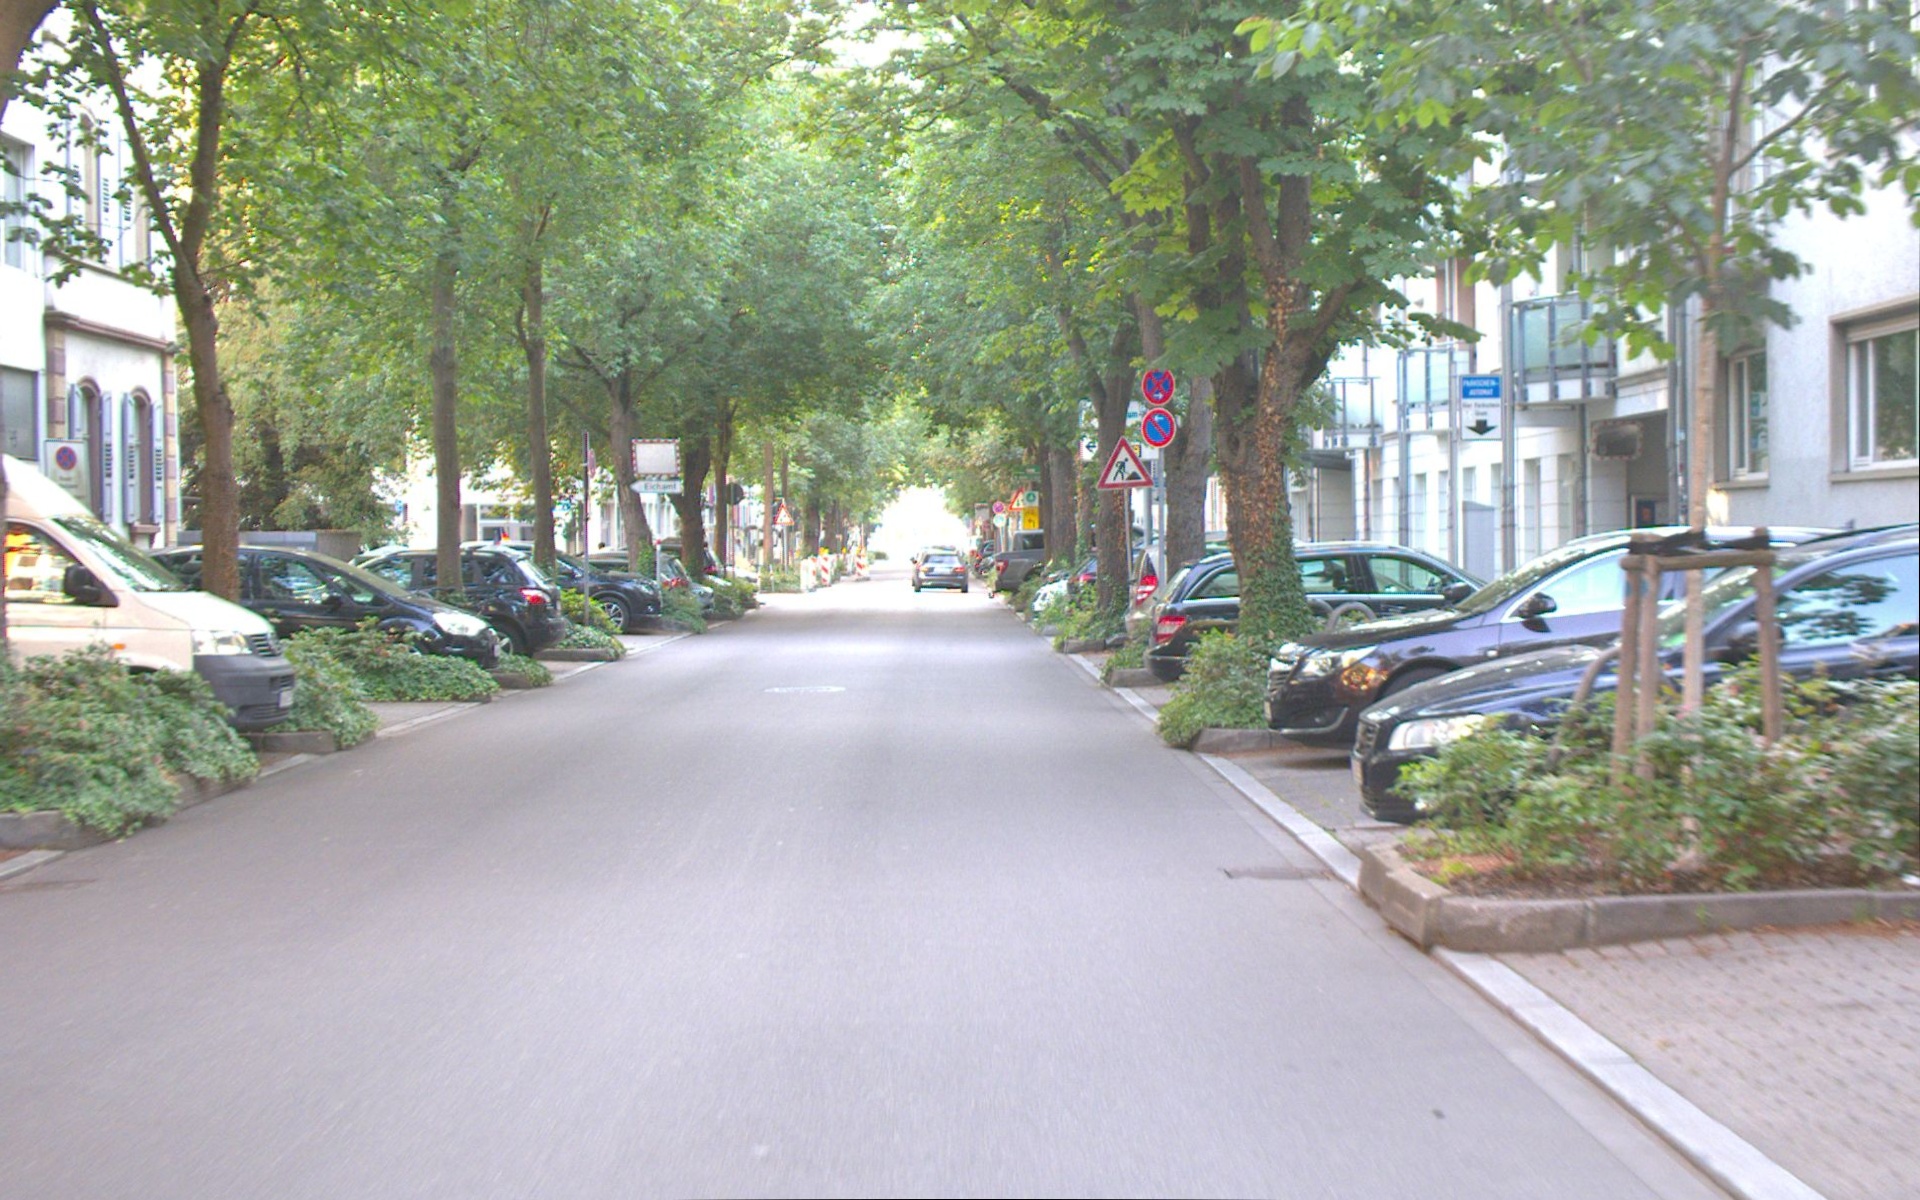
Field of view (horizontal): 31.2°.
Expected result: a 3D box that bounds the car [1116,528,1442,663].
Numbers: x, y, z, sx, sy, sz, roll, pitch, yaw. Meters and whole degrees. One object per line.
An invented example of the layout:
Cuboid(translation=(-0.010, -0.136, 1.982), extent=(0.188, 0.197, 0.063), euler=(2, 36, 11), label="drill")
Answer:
Cuboid(translation=(4.134, -0.074, 45.081), extent=(4.050, 1.592, 1.825), euler=(-2, 1, 0), label="car")

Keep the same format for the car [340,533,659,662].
Cuboid(translation=(-7.043, -0.048, 52.942), extent=(4.595, 1.801, 1.963), euler=(-2, 1, 0), label="car")

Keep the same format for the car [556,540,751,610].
Cuboid(translation=(-7.799, -0.650, 87.802), extent=(4.762, 1.624, 1.963), euler=(-2, 1, 0), label="car")

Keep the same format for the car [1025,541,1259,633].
Cuboid(translation=(3.420, -0.256, 65.102), extent=(4.268, 1.560, 1.963), euler=(-2, 1, 0), label="car")

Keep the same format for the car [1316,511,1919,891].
Cuboid(translation=(4.155, 0.434, 16.541), extent=(4.718, 1.704, 1.950), euler=(0, 2, 2), label="car")

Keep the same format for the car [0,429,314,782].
Cuboid(translation=(-7.238, 0.026, 25.059), extent=(4.682, 2.469, 2.000), euler=(0, 1, 0), label="car")

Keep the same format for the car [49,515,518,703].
Cuboid(translation=(-7.316, 0.082, 37.524), extent=(4.682, 1.848, 1.963), euler=(-2, 1, 0), label="car")

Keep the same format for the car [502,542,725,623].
Cuboid(translation=(-7.737, -0.398, 77.171), extent=(4.762, 1.624, 1.963), euler=(-2, 1, 0), label="car")

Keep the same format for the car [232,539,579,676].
Cuboid(translation=(-7.251, 0.082, 45.249), extent=(4.203, 1.630, 1.963), euler=(-2, 1, 0), label="car")

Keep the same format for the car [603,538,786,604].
Cuboid(translation=(-7.147, -0.792, 92.844), extent=(4.762, 1.624, 1.963), euler=(-2, 1, 0), label="car")

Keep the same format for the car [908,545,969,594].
Cuboid(translation=(-0.713, -1.029, 115.125), extent=(1.956, 1.560, 4.282), euler=(-2, 1, 0), label="car")

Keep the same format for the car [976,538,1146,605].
Cuboid(translation=(2.568, -0.734, 88.244), extent=(4.268, 1.560, 1.963), euler=(-2, 1, 0), label="car")

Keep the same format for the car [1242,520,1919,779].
Cuboid(translation=(4.338, 0.295, 23.060), extent=(4.682, 1.516, 1.963), euler=(-2, 1, 0), label="car")

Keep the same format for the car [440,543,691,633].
Cuboid(translation=(-7.848, -0.248, 68.716), extent=(4.762, 1.624, 1.963), euler=(-2, 1, 0), label="car")

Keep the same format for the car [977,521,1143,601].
Cuboid(translation=(2.626, -1.032, 90.907), extent=(4.268, 1.955, 1.963), euler=(-2, 1, 0), label="car")

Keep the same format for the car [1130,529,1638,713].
Cuboid(translation=(3.866, 0.177, 31.971), extent=(4.508, 1.516, 1.995), euler=(-2, 1, 3), label="car")

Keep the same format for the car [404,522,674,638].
Cuboid(translation=(-7.852, -0.391, 64.393), extent=(4.762, 1.977, 1.963), euler=(-2, 1, 0), label="car")
